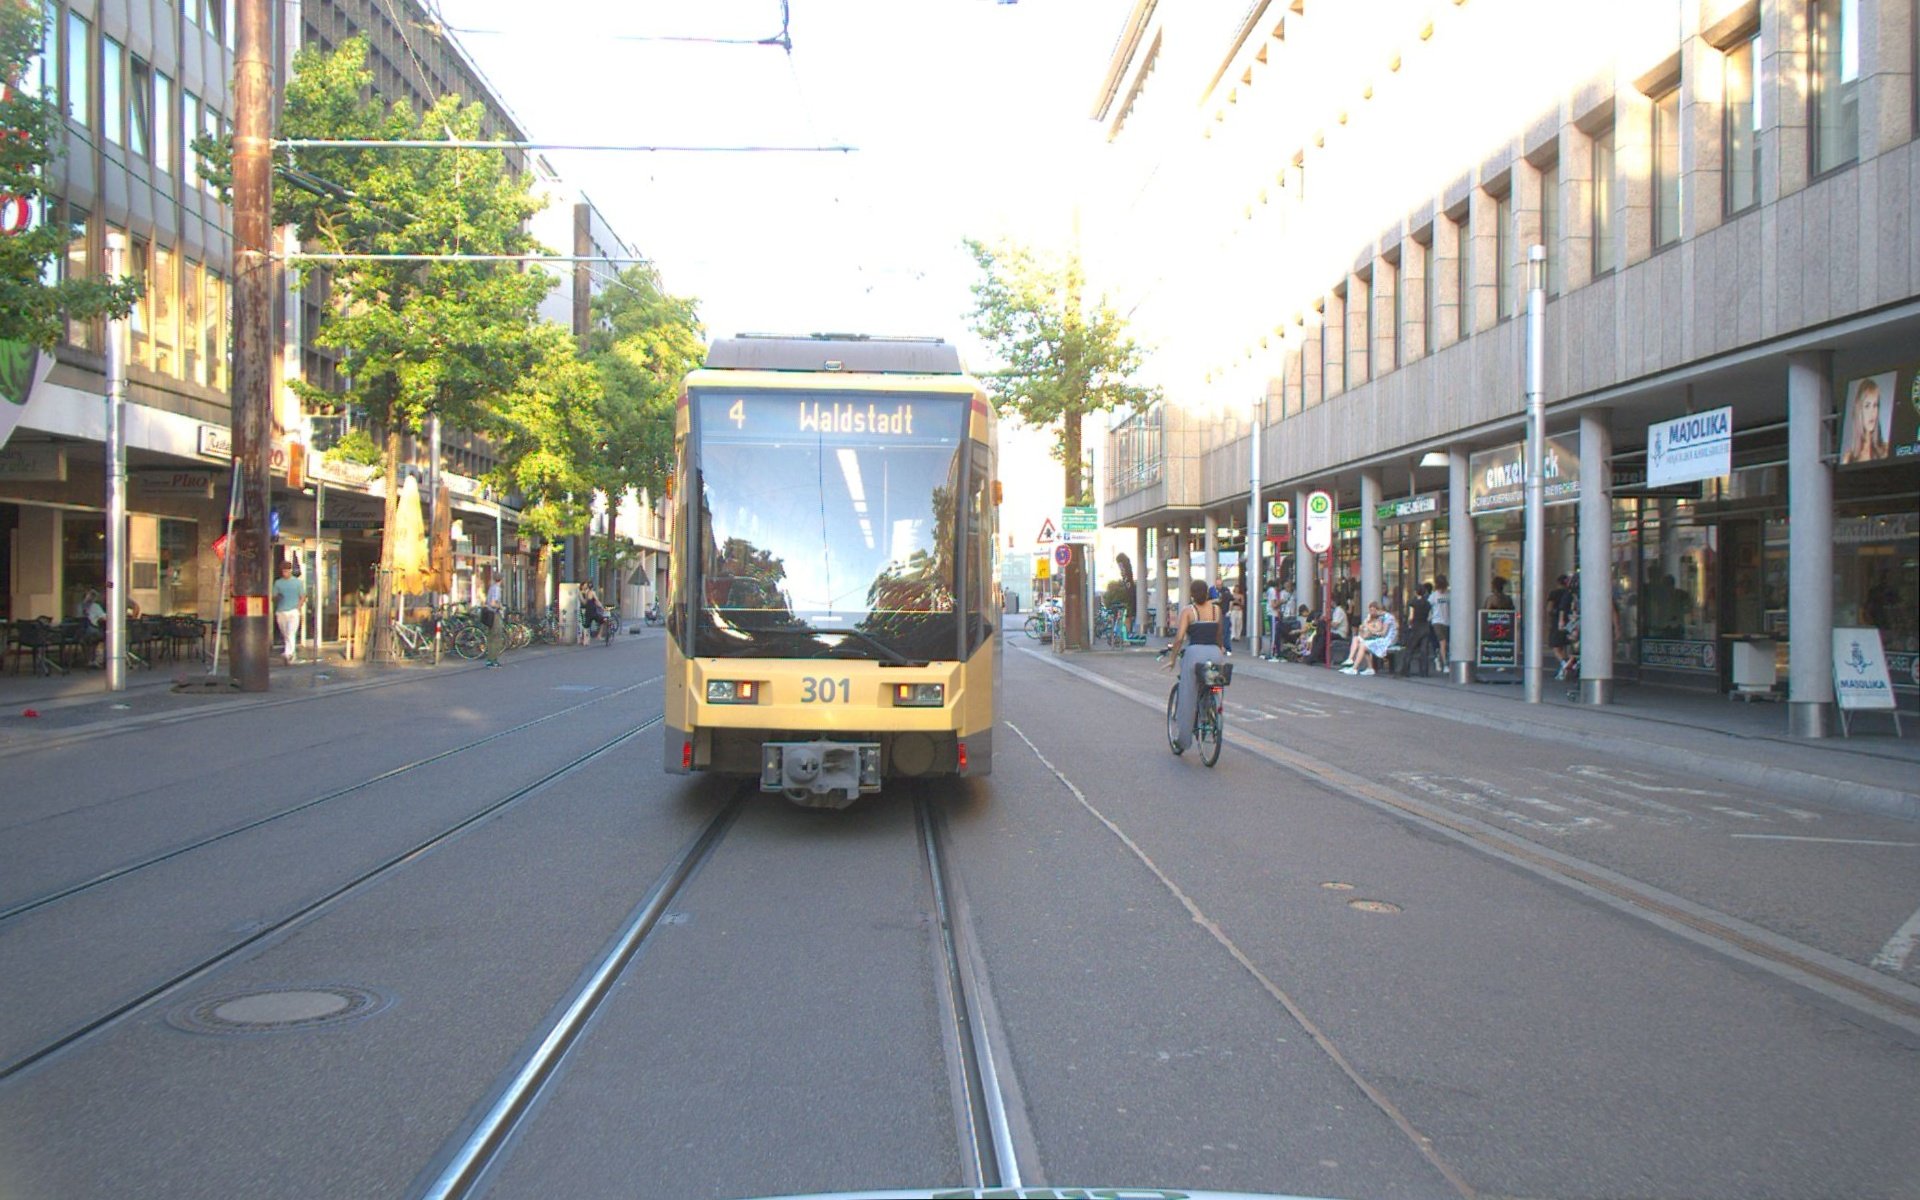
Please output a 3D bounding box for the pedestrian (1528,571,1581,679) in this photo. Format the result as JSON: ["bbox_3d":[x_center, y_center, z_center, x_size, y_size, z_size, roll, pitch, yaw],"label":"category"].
[{"bbox_3d":[10.078,0.418,28.045,0.570,1.783,0.773,-1,0,-3],"label":"pedestrian"}]

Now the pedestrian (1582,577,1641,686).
[{"bbox_3d":[10.305,0.492,26.158,0.635,1.690,0.680,-1,0,-1],"label":"pedestrian"}]

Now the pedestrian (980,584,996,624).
[{"bbox_3d":[1.251,0.185,74.410,0.703,1.756,0.709,0,-1,-1],"label":"pedestrian"}]

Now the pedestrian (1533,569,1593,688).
[{"bbox_3d":[9.207,0.430,25.270,0.570,1.783,0.773,-1,0,-3],"label":"pedestrian"}]

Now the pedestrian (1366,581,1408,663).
[{"bbox_3d":[8.970,0.452,34.769,0.673,1.690,0.722,-1,0,-1],"label":"pedestrian"}]

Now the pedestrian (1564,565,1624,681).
[{"bbox_3d":[10.730,0.380,28.010,0.673,1.916,0.773,-1,0,-4],"label":"pedestrian"}]

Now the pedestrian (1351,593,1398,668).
[{"bbox_3d":[7.514,0.540,29.965,0.703,1.337,0.524,1,-1,-1],"label":"pedestrian"}]

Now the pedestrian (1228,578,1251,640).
[{"bbox_3d":[8.390,0.269,49.642,0.528,1.838,0.604,-1,0,-4],"label":"pedestrian"}]

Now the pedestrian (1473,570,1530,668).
[{"bbox_3d":[10.190,0.349,31.146,0.757,1.803,0.773,-1,0,-3],"label":"pedestrian"}]

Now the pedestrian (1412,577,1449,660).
[{"bbox_3d":[10.090,0.399,35.468,0.559,1.762,0.617,-1,0,-4],"label":"pedestrian"}]

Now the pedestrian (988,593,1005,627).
[{"bbox_3d":[2.011,0.548,90.403,0.722,1.855,0.816,0,0,-17],"label":"pedestrian"}]

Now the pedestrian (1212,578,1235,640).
[{"bbox_3d":[7.870,0.261,49.436,0.528,1.838,0.604,-1,0,-4],"label":"pedestrian"}]

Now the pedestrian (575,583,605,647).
[{"bbox_3d":[-10.178,0.403,45.530,0.589,1.729,0.535,1,0,27],"label":"pedestrian"}]

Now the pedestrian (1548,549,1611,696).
[{"bbox_3d":[8.479,0.304,22.665,0.566,1.978,0.655,-1,0,-2],"label":"pedestrian"}]

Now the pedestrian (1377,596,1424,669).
[{"bbox_3d":[8.160,0.596,30.645,0.703,1.337,0.532,1,-1,-1],"label":"pedestrian"}]

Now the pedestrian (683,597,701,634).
[{"bbox_3d":[-11.485,0.674,70.846,0.674,1.569,0.602,0,-1,-19],"label":"pedestrian"}]

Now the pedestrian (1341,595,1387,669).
[{"bbox_3d":[7.440,0.586,30.501,0.703,1.337,0.532,1,-1,-1],"label":"pedestrian"}]

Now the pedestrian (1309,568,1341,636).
[{"bbox_3d":[9.903,0.064,44.884,0.649,1.818,0.719,-1,0,-2],"label":"pedestrian"}]

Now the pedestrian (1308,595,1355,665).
[{"bbox_3d":[7.617,0.611,33.939,0.796,1.405,0.662,1,0,-1],"label":"pedestrian"}]

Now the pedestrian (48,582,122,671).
[{"bbox_3d":[-13.780,0.417,26.066,0.657,1.349,0.911,2,-1,-4],"label":"pedestrian"}]

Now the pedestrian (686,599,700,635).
[{"bbox_3d":[-11.368,0.713,70.358,0.592,1.520,0.554,0,-1,-10],"label":"pedestrian"}]

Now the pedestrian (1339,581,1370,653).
[{"bbox_3d":[9.783,0.422,40.998,0.559,1.762,0.617,-1,0,-4],"label":"pedestrian"}]

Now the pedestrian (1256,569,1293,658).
[{"bbox_3d":[6.749,0.287,35.497,0.626,1.872,0.667,-1,0,-1],"label":"pedestrian"}]

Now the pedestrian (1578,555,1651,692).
[{"bbox_3d":[9.413,0.336,23.820,0.692,1.922,0.796,-1,0,-2],"label":"pedestrian"}]

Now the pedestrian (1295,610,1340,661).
[{"bbox_3d":[7.489,0.737,34.659,0.796,1.061,0.544,1,0,-1],"label":"pedestrian"}]

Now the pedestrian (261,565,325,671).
[{"bbox_3d":[-11.926,0.321,29.592,0.670,1.824,0.990,2,-1,0],"label":"pedestrian"}]

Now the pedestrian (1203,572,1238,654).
[{"bbox_3d":[6.064,0.293,38.488,0.655,1.872,0.708,-1,0,-3],"label":"pedestrian"}]

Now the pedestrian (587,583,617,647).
[{"bbox_3d":[-9.744,0.406,45.026,0.589,1.729,0.535,1,0,27],"label":"pedestrian"}]

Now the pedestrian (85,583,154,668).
[{"bbox_3d":[-13.843,0.421,27.261,0.657,1.349,0.911,2,-1,-4],"label":"pedestrian"}]

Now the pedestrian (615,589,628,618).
[{"bbox_3d":[-20.717,0.240,101.174,0.699,1.756,0.709,0,-1,-4],"label":"pedestrian"}]

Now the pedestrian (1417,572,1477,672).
[{"bbox_3d":[9.081,0.398,30.883,0.827,1.829,0.858,-1,0,-2],"label":"pedestrian"}]

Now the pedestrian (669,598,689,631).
[{"bbox_3d":[-12.563,0.633,73.929,0.544,1.459,0.683,-1,-1,35],"label":"pedestrian"}]

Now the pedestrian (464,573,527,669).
[{"bbox_3d":[-9.025,0.398,32.127,0.816,1.824,0.974,1,-1,-44],"label":"pedestrian"}]

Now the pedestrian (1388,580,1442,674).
[{"bbox_3d":[7.938,0.467,28.894,0.710,1.597,0.736,-1,0,-1],"label":"pedestrian"}]
